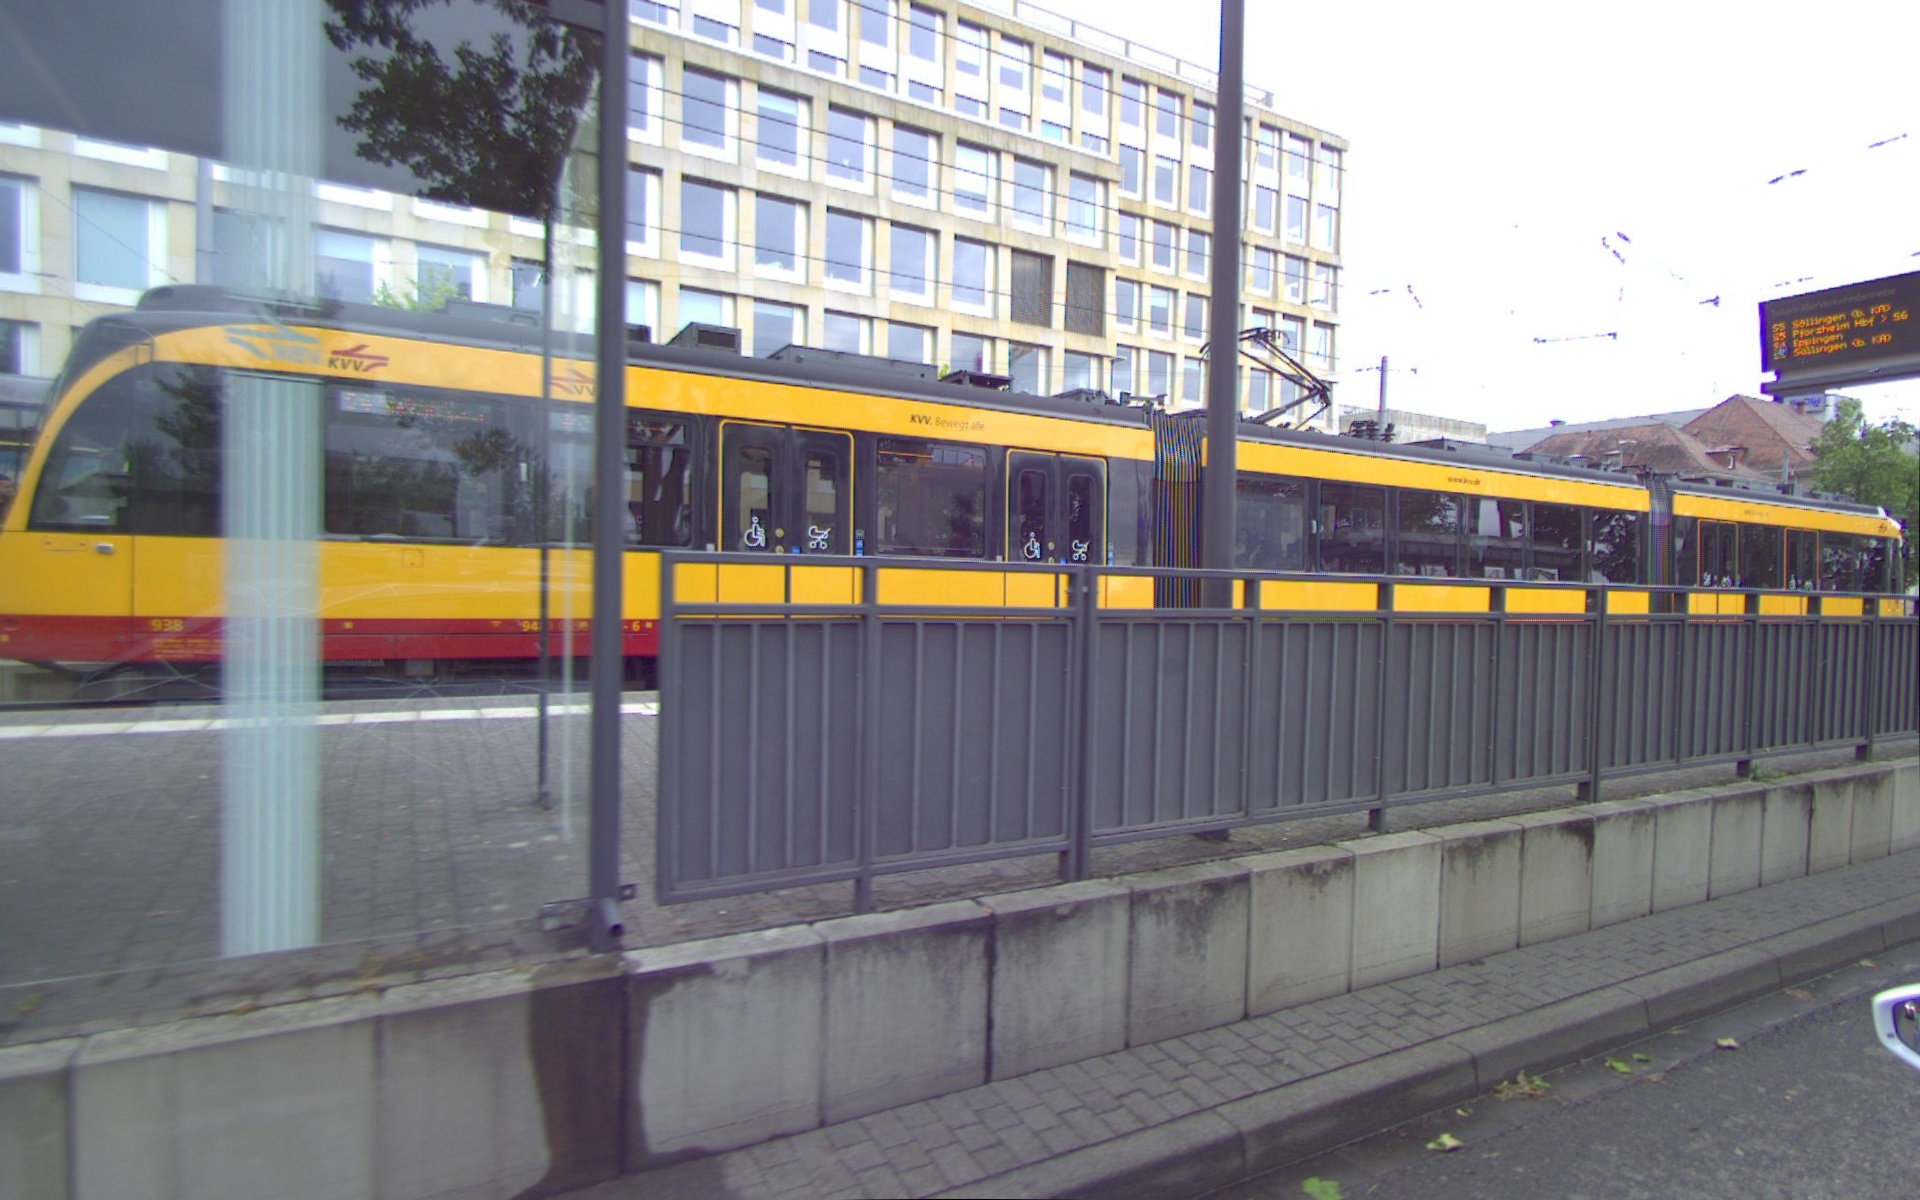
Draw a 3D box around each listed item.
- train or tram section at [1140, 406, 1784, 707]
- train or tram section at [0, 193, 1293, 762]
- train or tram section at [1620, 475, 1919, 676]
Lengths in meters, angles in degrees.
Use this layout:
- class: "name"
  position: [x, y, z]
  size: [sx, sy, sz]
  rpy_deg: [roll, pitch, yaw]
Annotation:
- class: "train or tram section"
  position: [10.190, -0.488, 19.053]
  size: [14.554, 4.235, 3.166]
  rpy_deg: [1, 1, -29]
- class: "train or tram section"
  position: [-2.519, -0.807, 11.904]
  size: [14.554, 4.235, 3.166]
  rpy_deg: [1, 1, -29]
- class: "train or tram section"
  position: [22.938, -0.400, 26.136]
  size: [14.554, 4.235, 3.166]
  rpy_deg: [1, 1, -29]
